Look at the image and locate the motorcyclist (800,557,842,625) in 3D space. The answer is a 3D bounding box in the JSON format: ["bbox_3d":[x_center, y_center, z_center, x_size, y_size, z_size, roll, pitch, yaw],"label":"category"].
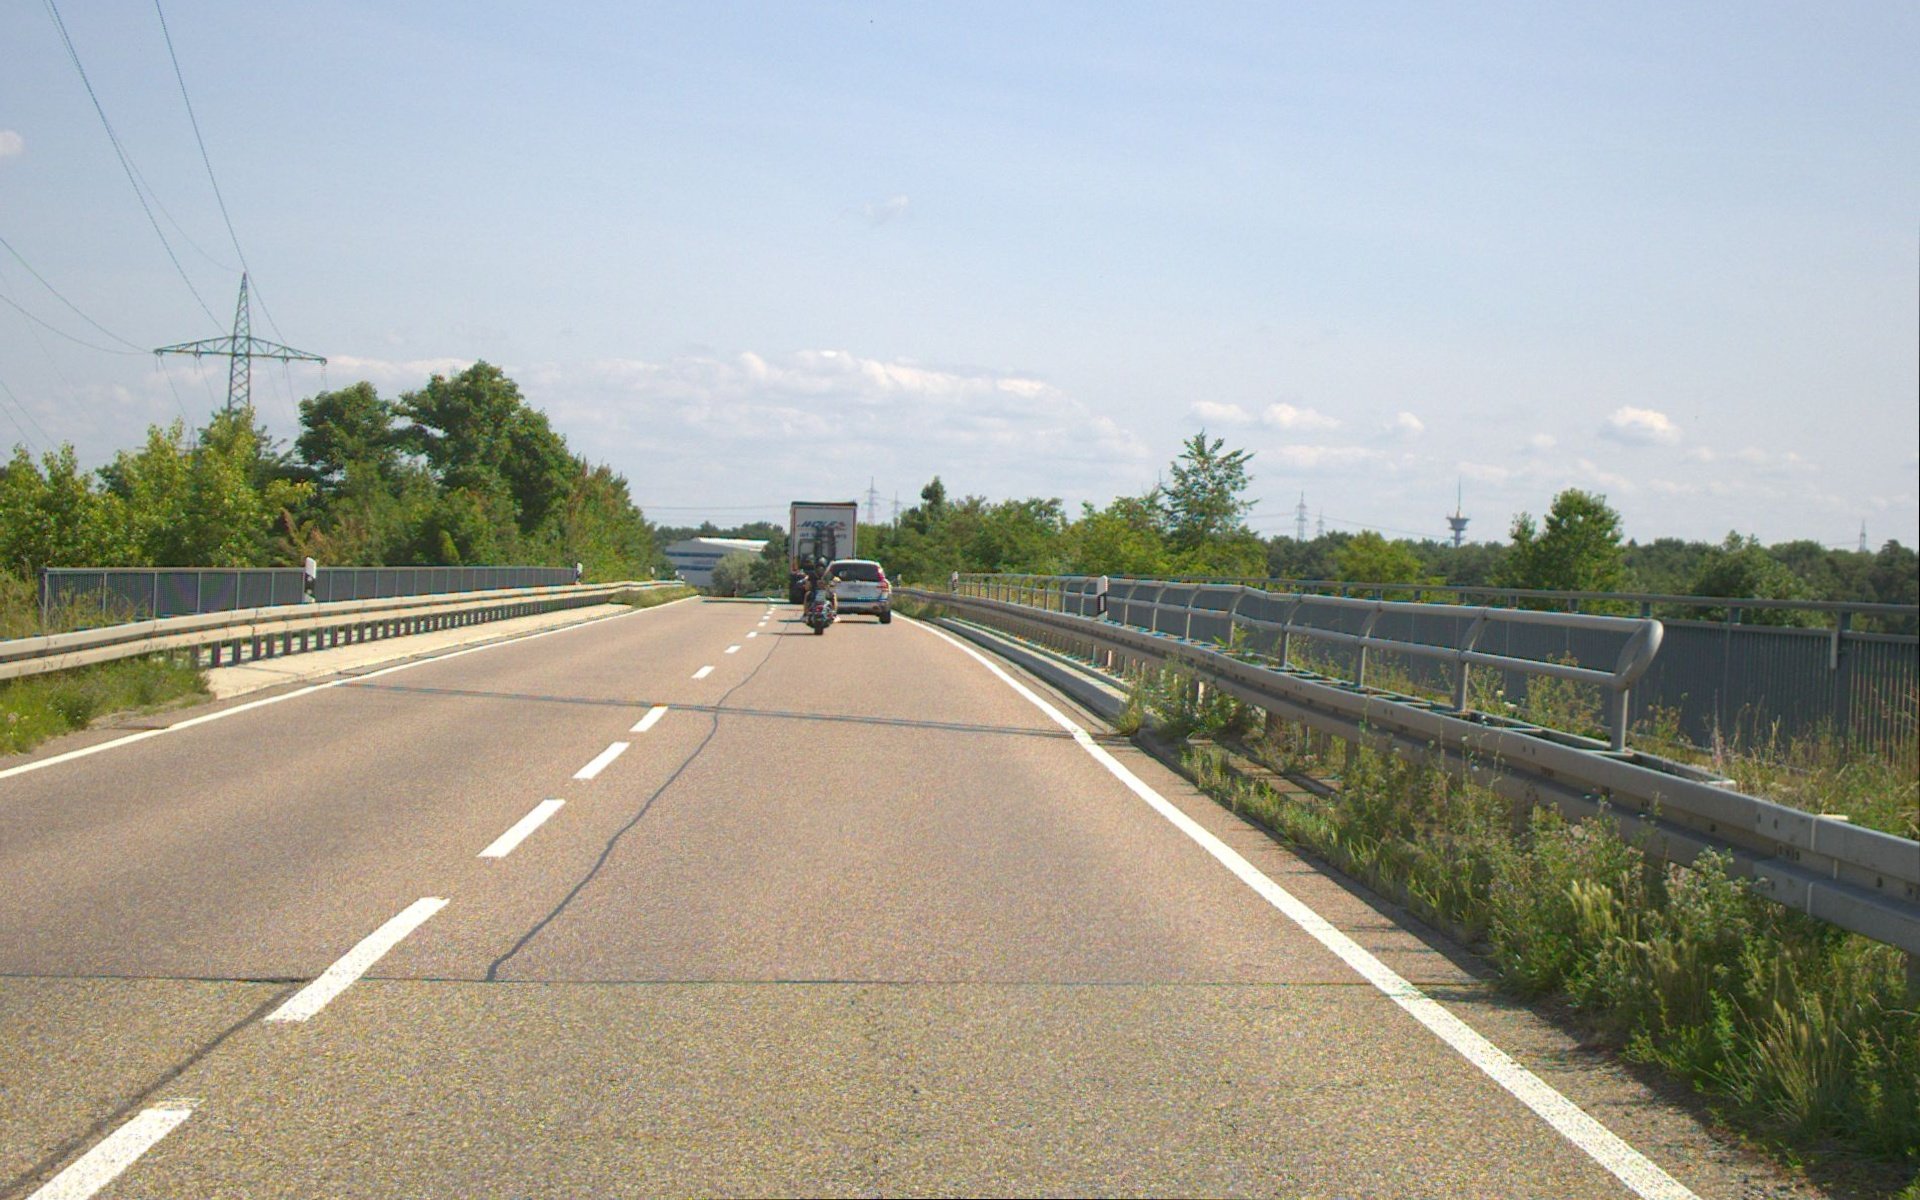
[{"bbox_3d":[-2.746,-0.181,67.913,0.780,1.321,0.813,2,1,0],"label":"motorcyclist"}]

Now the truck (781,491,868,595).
[{"bbox_3d":[-5.423,-2.278,139.180,3.241,3.965,9.444,2,1,-1],"label":"truck"}]

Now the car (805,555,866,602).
[{"bbox_3d":[-4.043,-0.725,112.060,1.866,1.415,4.000,2,1,-1],"label":"car"}]

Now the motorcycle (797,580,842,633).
[{"bbox_3d":[-2.765,0.126,67.899,0.780,0.972,2.361,2,1,0],"label":"motorcycle"}]

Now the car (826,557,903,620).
[{"bbox_3d":[-2.362,-0.304,85.474,1.825,1.446,4.000,2,1,-1],"label":"car"}]
